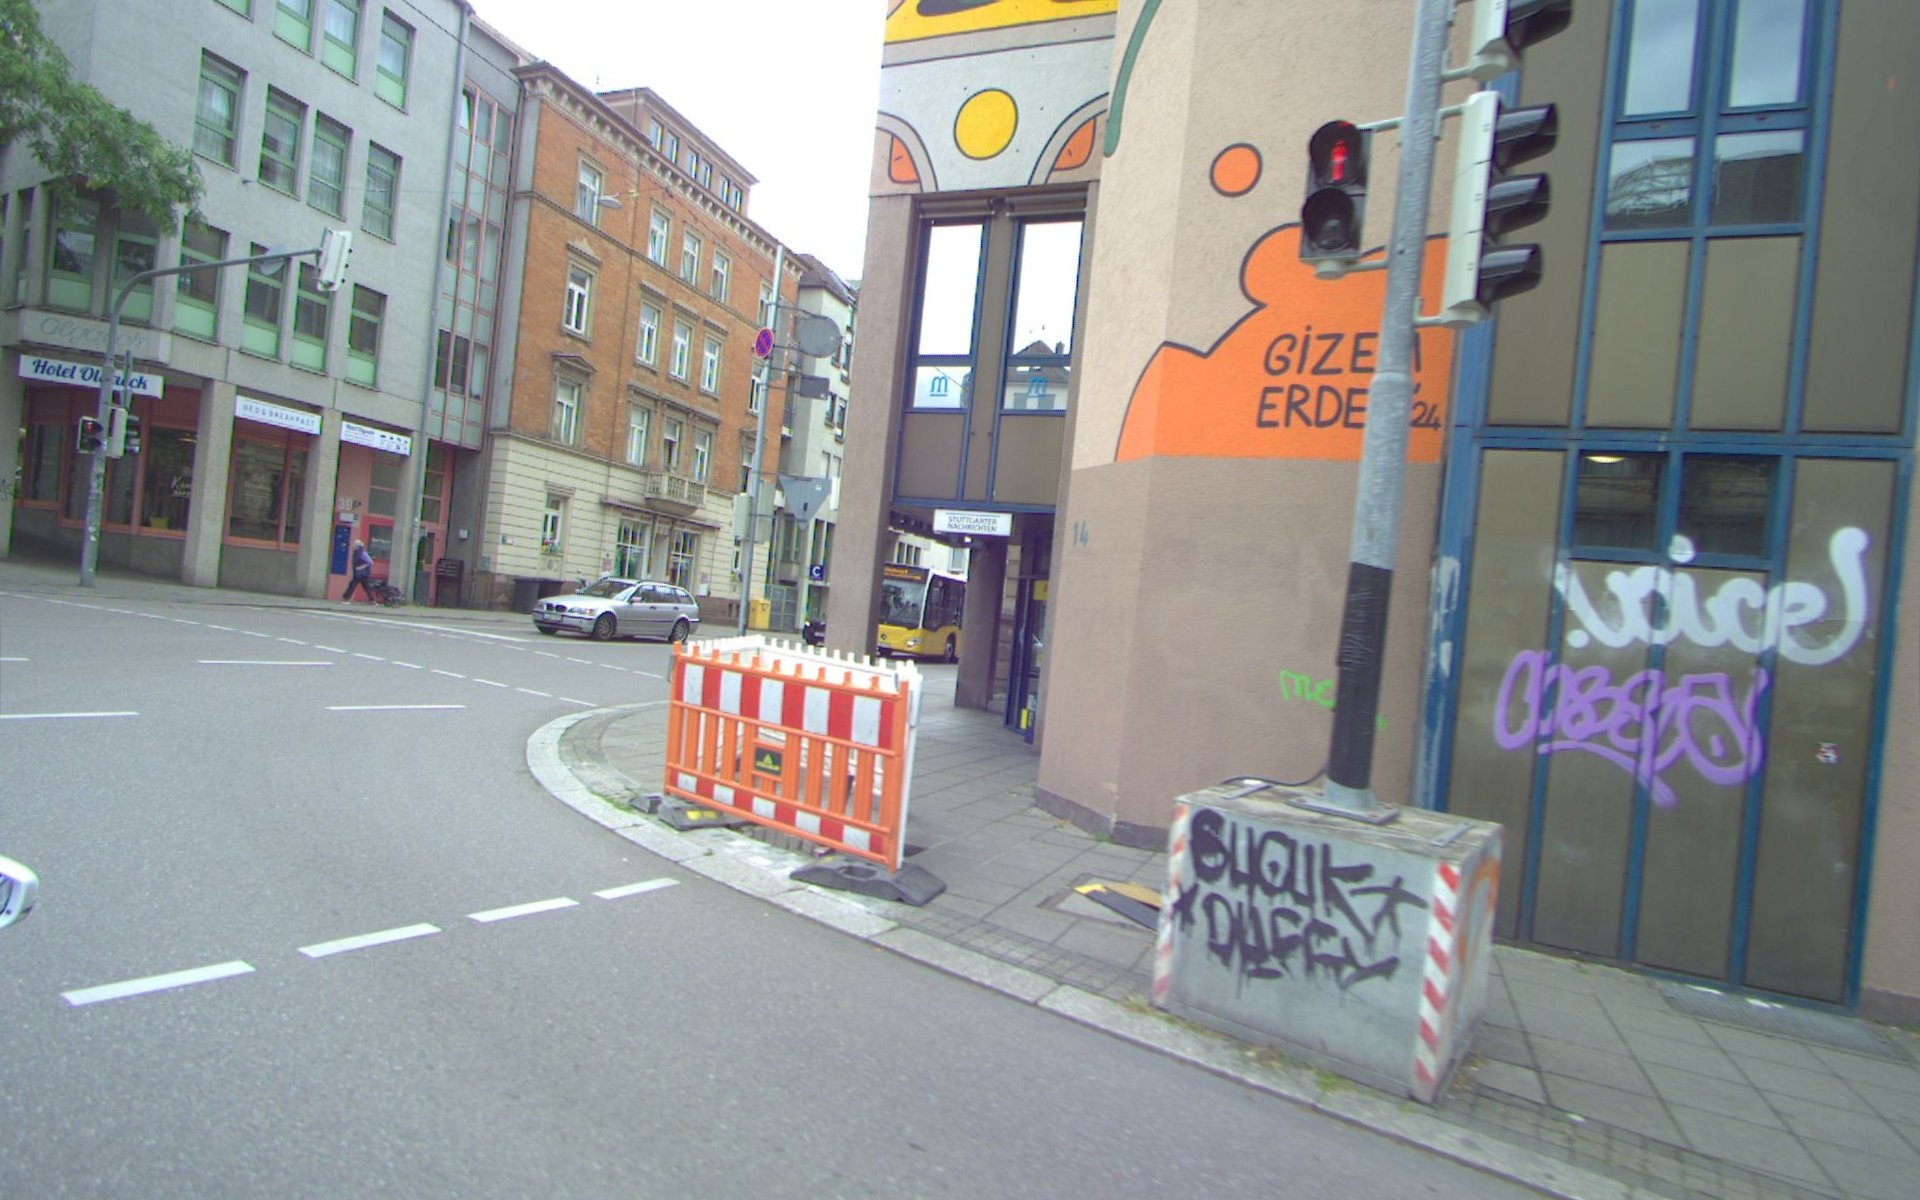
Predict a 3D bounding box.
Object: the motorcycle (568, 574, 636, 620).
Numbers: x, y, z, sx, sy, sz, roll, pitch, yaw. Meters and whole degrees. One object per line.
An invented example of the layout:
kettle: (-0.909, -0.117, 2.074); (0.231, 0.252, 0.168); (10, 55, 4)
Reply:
motorcycle: (-11.704, -0.079, 33.030); (1.131, 1.312, 2.658); (7, -1, 0)

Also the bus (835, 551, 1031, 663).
bus: (-0.489, 0.547, 36.377); (2.821, 3.079, 11.597); (7, -1, 19)

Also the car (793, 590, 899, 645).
car: (-3.923, 0.662, 35.513); (1.962, 1.507, 4.272); (7, -1, 18)

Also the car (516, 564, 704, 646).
car: (-7.933, 0.179, 23.232); (1.819, 1.445, 4.163); (7, -1, 18)

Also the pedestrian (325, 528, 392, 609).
pedestrian: (-14.280, -0.746, 23.913); (1.112, 1.733, 0.851); (7, 0, -25)
